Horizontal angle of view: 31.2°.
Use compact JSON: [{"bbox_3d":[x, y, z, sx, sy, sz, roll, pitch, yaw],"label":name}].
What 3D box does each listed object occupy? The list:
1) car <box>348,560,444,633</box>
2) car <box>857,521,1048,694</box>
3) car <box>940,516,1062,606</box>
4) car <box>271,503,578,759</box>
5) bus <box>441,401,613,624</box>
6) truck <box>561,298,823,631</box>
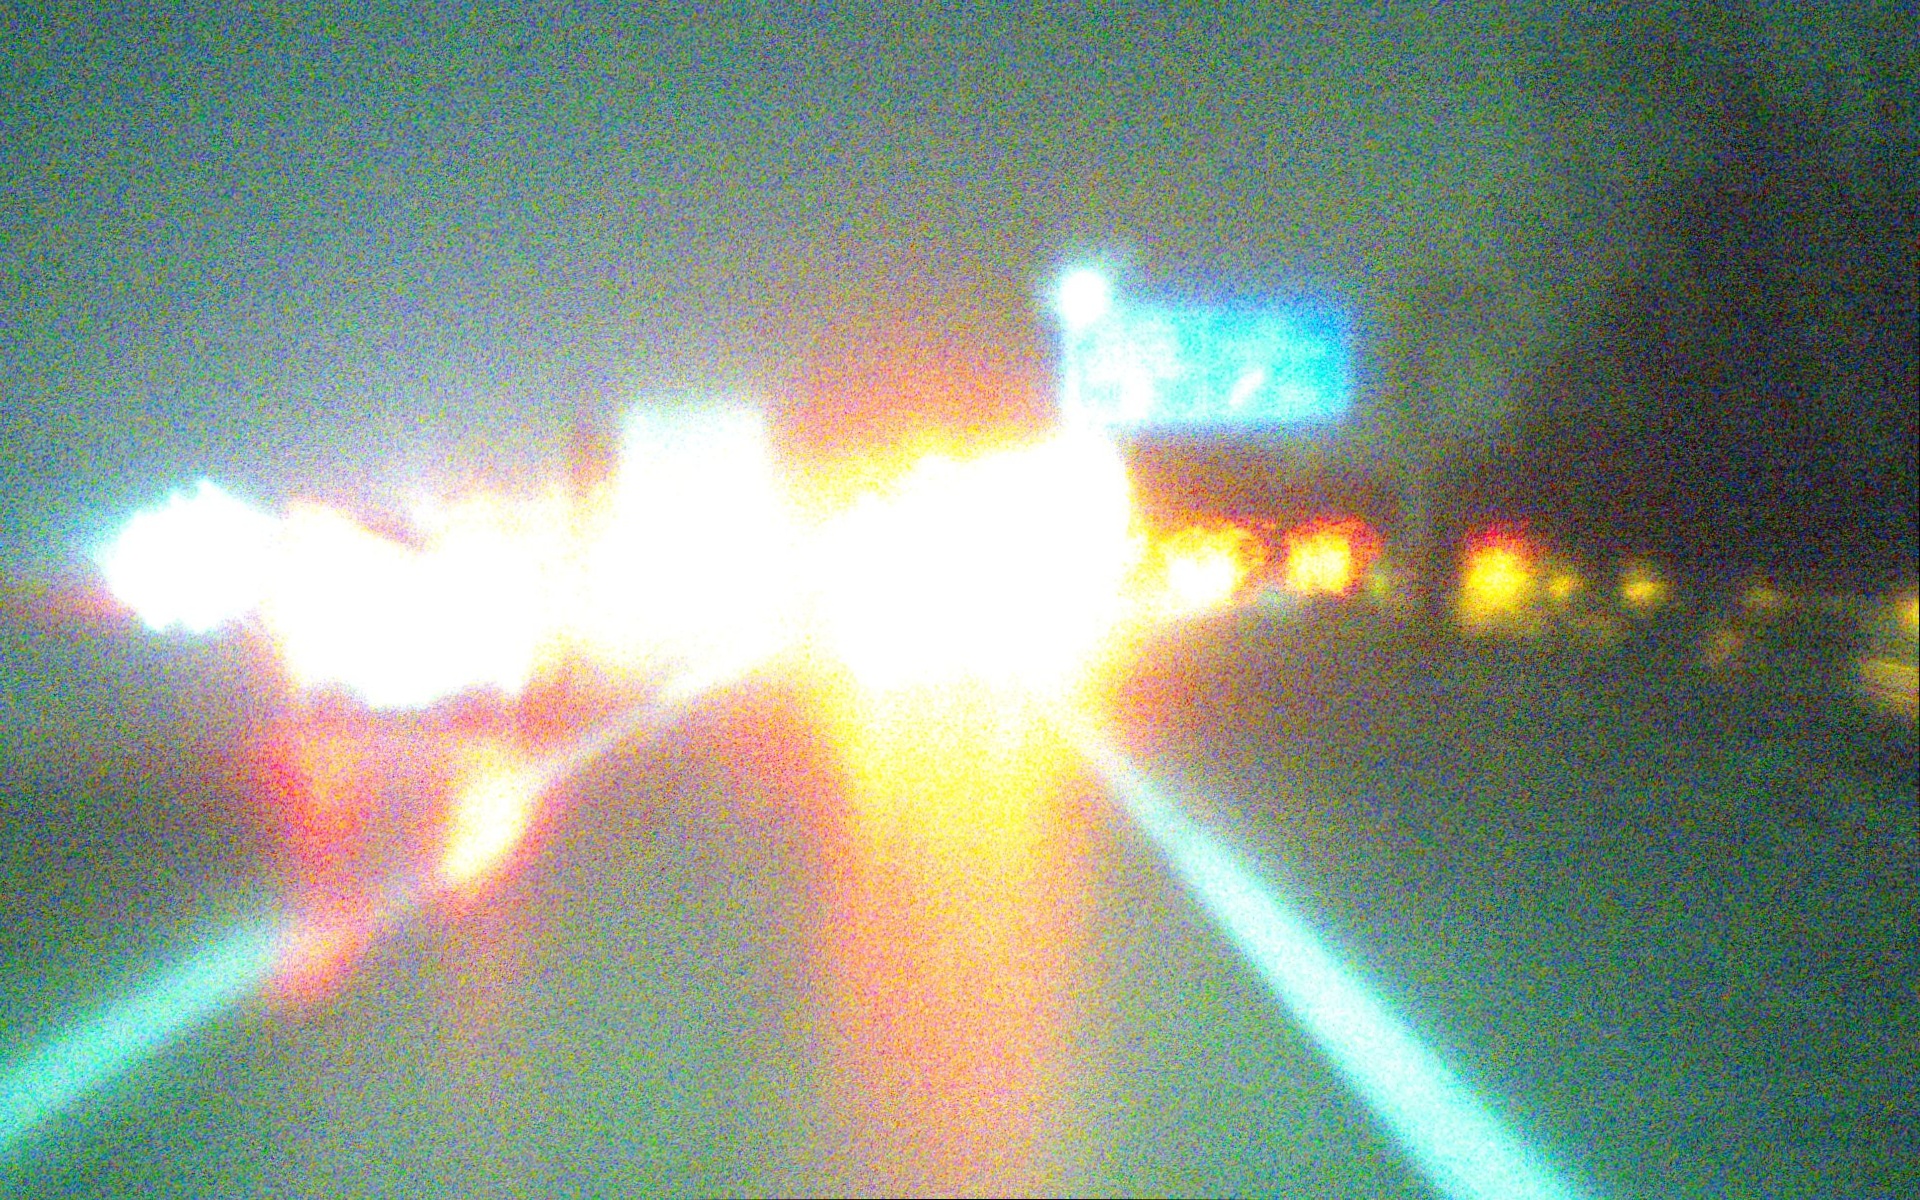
[{"bbox_3d":[-12.885,-0.096,78.745,1.993,1.590,4.001,1,1,-7],"label":"car"},{"bbox_3d":[-0.109,0.051,38.530,1.993,1.801,4.000,1,1,-1],"label":"car"},{"bbox_3d":[0.823,-0.828,72.085,1.993,1.801,4.001,1,1,-7],"label":"car"},{"bbox_3d":[-4.527,0.216,29.754,2.125,2.007,4.646,1,1,-3],"label":"car"},{"bbox_3d":[-9.404,-1.865,75.794,3.096,4.492,10.915,1,1,-4],"label":"bus"},{"bbox_3d":[-4.827,-2.408,64.759,4.210,5.629,11.468,1,1,-1],"label":"truck"}]
